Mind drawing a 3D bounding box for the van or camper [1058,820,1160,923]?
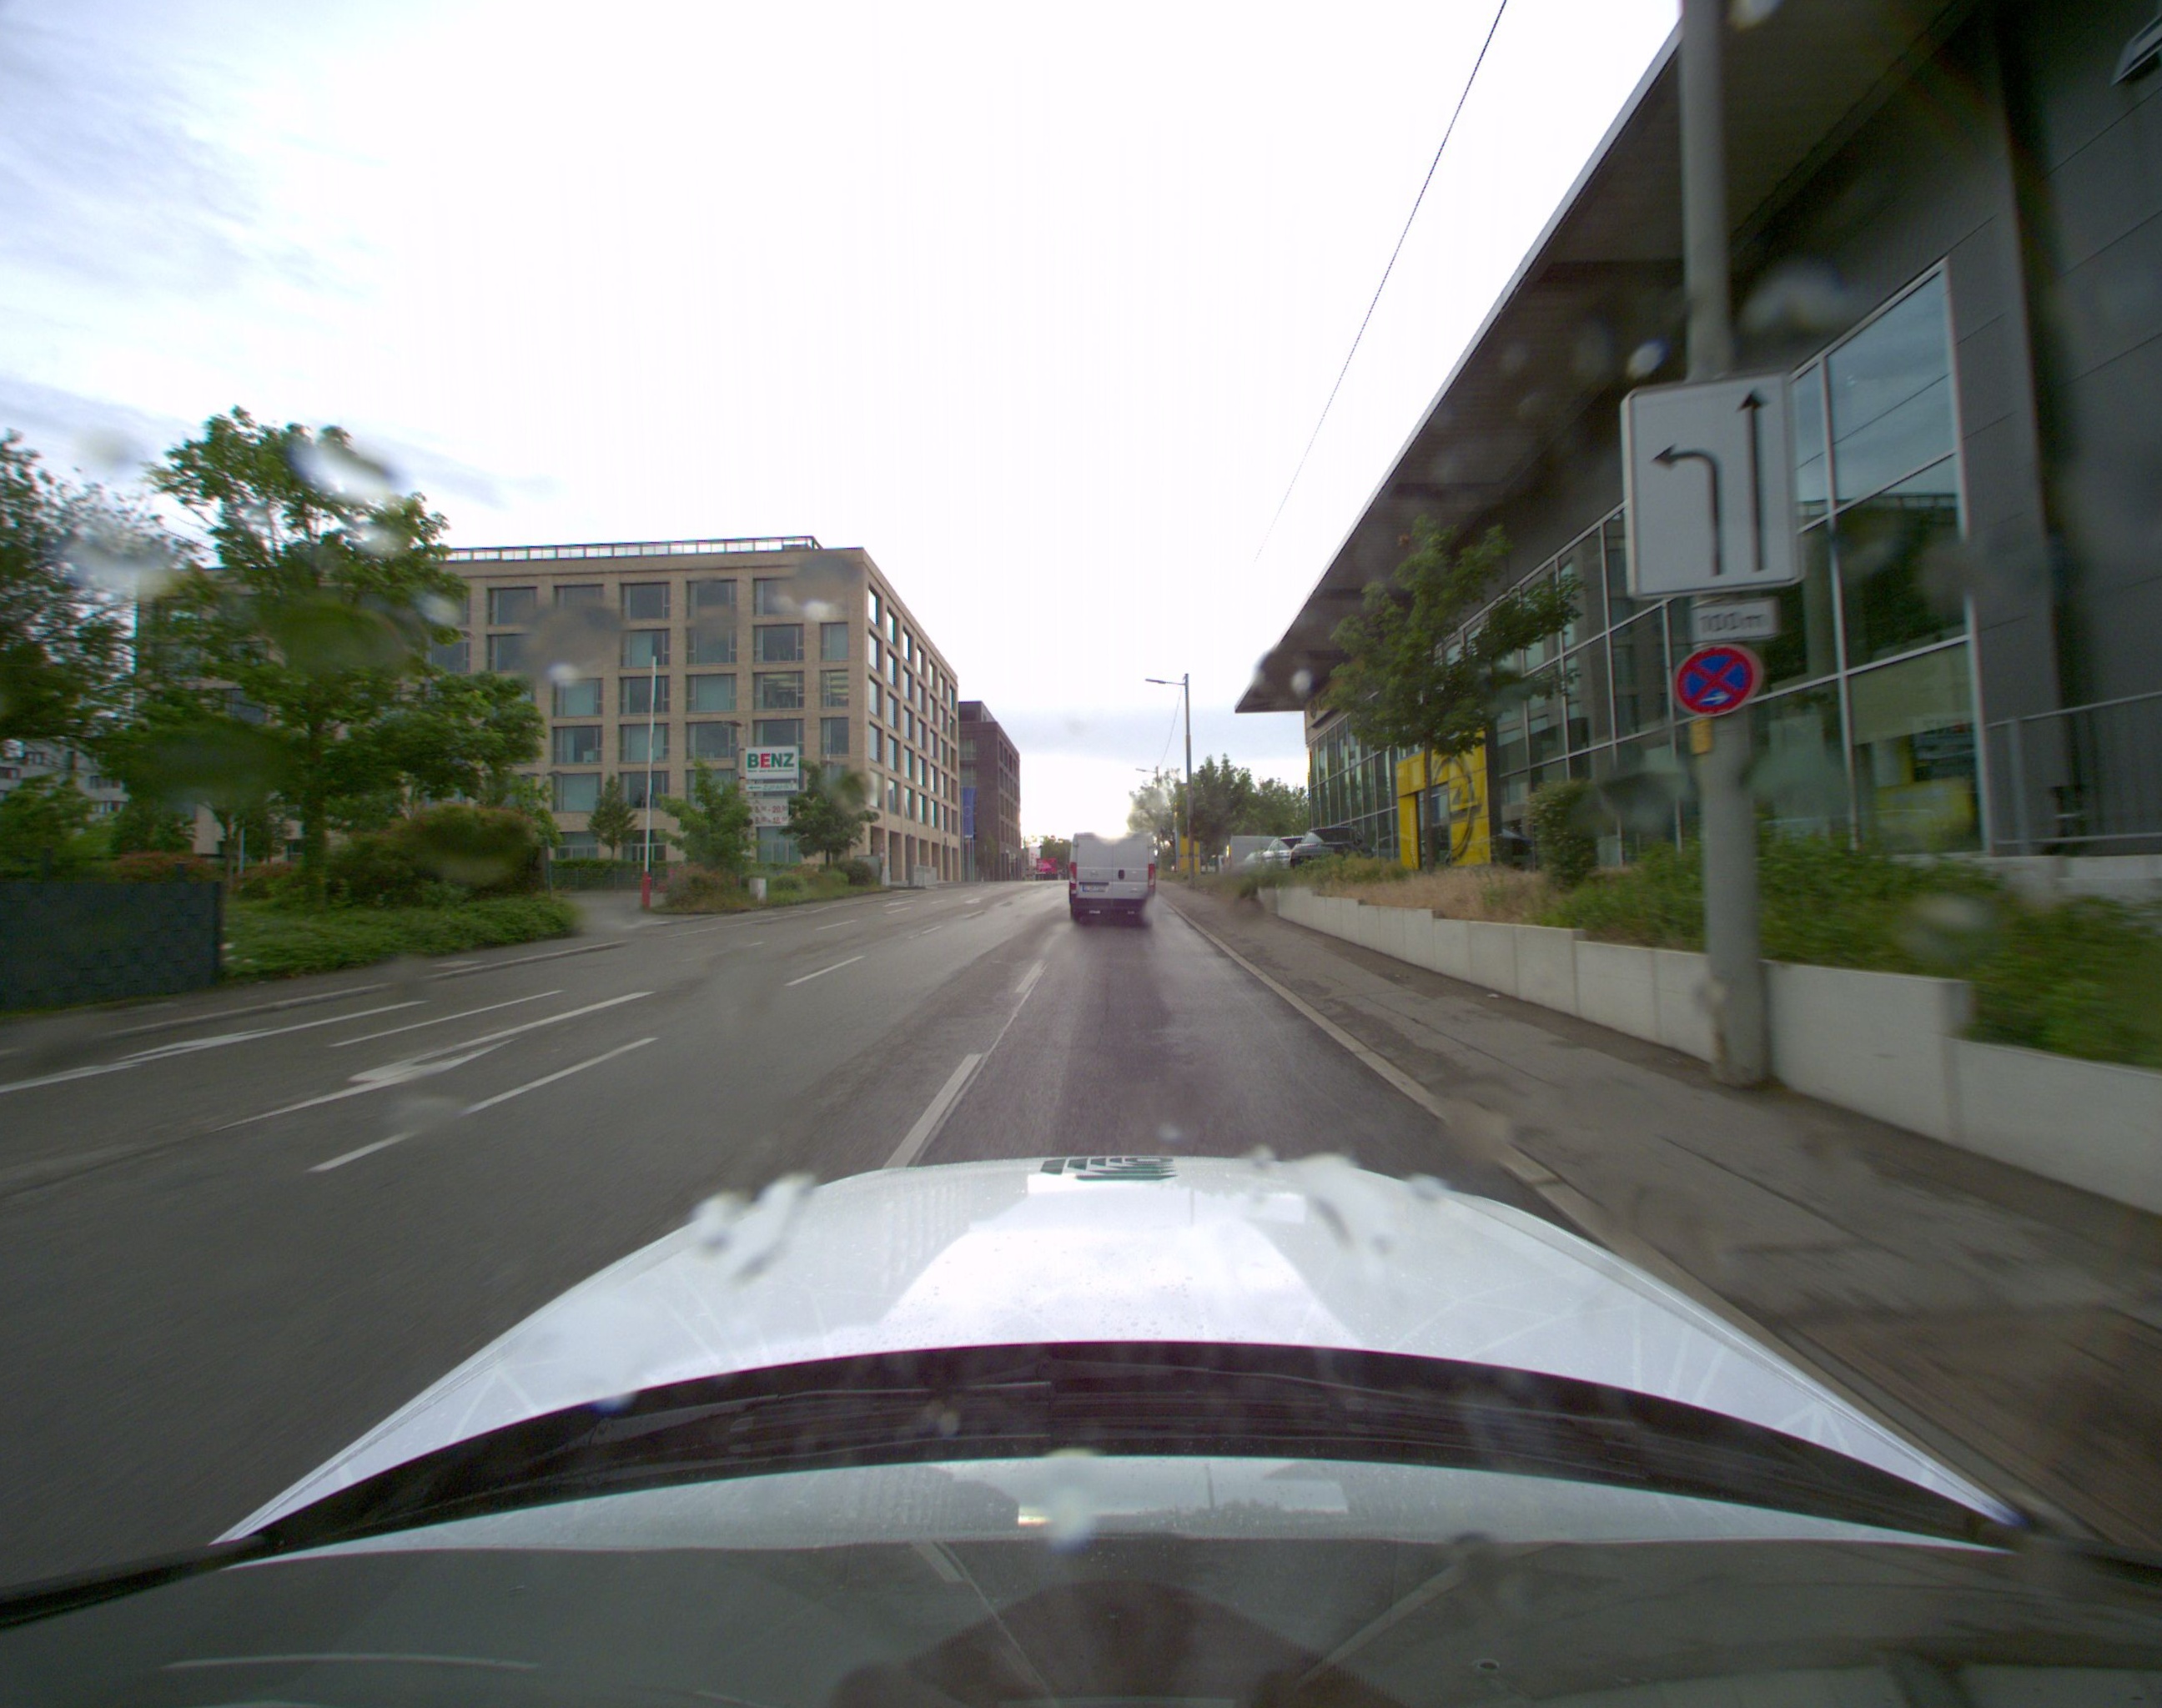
[{"bbox_3d":[0.779,0.449,21.216,2.330,2.357,5.203,0,-1,3],"label":"van or camper"}]

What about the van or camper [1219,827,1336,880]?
[{"bbox_3d":[10.369,-0.019,43.333,5.715,2.724,2.353,0,-1,2],"label":"van or camper"}]

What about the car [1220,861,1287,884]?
[{"bbox_3d":[11.179,1.185,52.931,3.970,1.428,1.896,-1,-1,3],"label":"car"}]

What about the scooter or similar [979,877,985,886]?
[{"bbox_3d":[-11.313,3.138,93.196,0.349,1.072,1.429,-1,-3,3],"label":"scooter or similar"}]

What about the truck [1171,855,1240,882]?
[{"bbox_3d":[9.767,1.131,64.213,5.131,2.014,2.345,0,-1,0],"label":"truck"}]

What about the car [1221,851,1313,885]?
[{"bbox_3d":[8.984,0.642,39.159,4.542,1.455,1.893,-1,-3,-41],"label":"car"}]

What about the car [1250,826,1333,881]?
[{"bbox_3d":[7.677,0.028,29.385,1.975,1.711,4.604,-4,-3,25],"label":"car"}]

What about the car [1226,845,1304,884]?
[{"bbox_3d":[7.913,0.466,34.696,1.891,1.455,4.599,-4,-3,30],"label":"car"}]

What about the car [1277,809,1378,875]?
[{"bbox_3d":[7.538,-0.283,24.601,1.974,1.711,4.455,-4,-3,28],"label":"car"}]

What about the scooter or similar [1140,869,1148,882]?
[{"bbox_3d":[7.771,2.615,100.623,0.436,1.588,1.264,0,-1,-20],"label":"scooter or similar"}]
